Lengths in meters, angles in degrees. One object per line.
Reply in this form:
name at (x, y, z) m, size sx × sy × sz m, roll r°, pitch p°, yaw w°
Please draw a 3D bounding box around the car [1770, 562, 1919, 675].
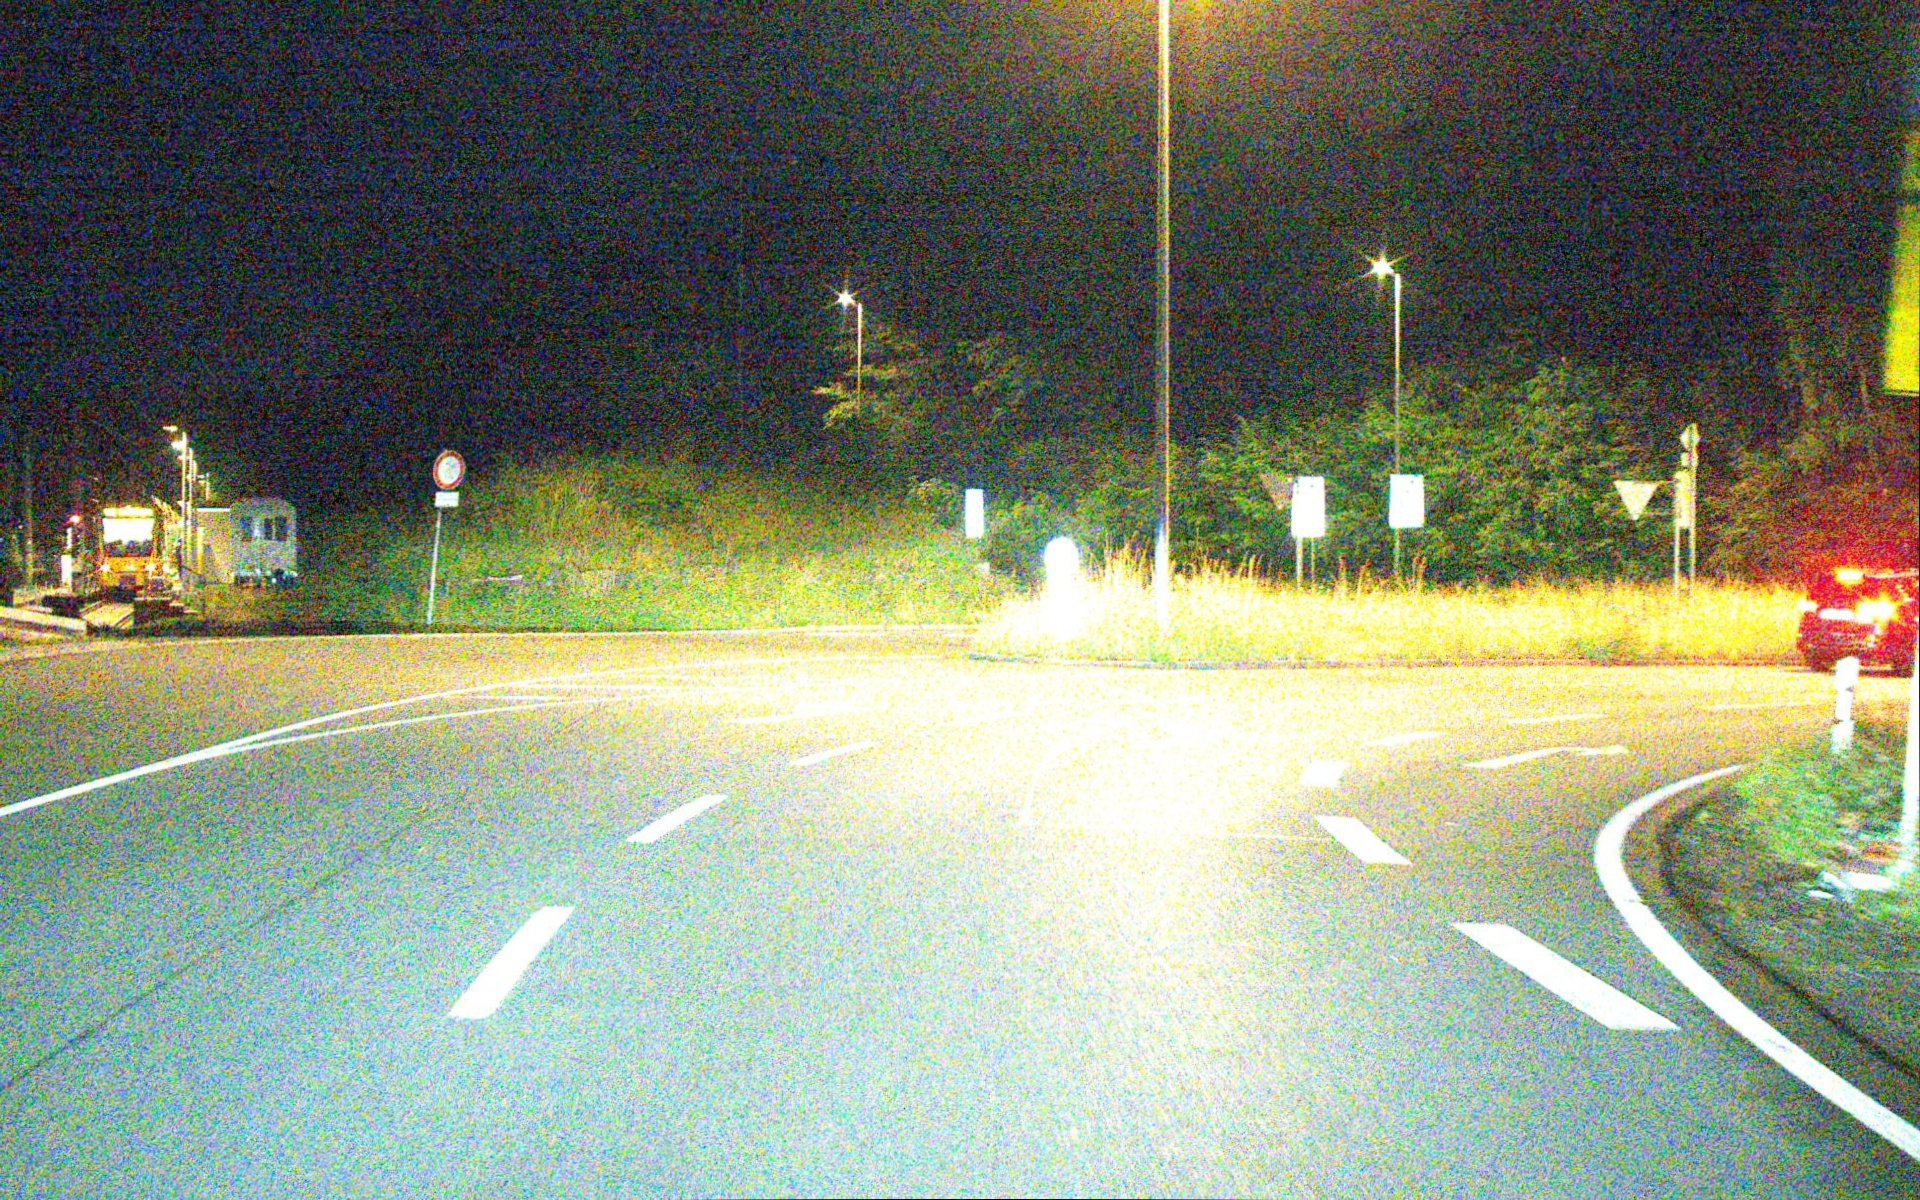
car at (14.381, 0.296, 52.359) m, size 3.995 × 1.577 × 1.857 m, roll 1°, pitch 2°, yaw -39°
